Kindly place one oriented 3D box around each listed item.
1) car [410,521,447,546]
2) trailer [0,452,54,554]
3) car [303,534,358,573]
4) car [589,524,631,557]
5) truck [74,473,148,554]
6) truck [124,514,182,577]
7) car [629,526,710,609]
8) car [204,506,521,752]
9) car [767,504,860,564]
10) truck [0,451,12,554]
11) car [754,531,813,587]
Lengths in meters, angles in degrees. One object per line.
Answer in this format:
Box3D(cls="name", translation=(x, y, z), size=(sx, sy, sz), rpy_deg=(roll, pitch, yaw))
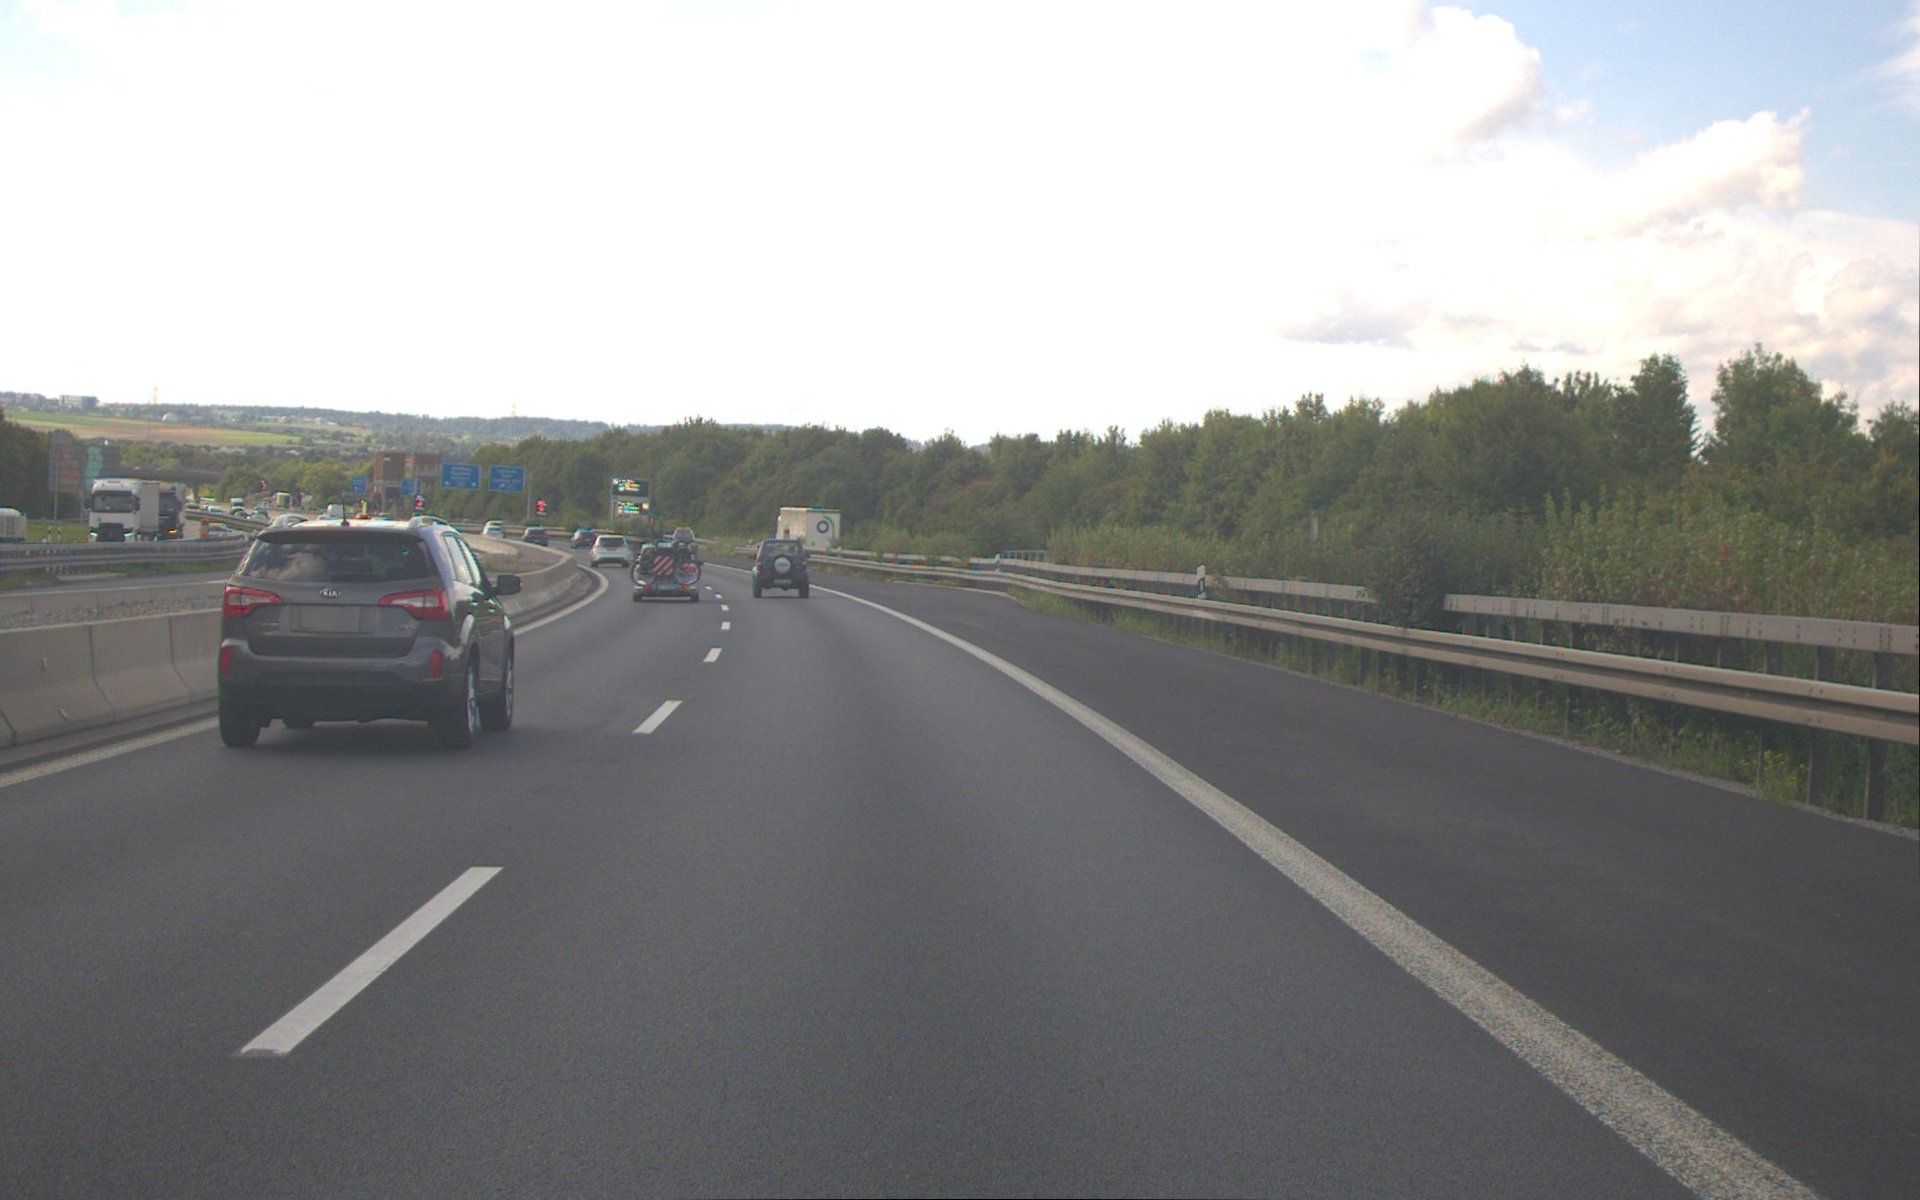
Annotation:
Box3D(cls="car", translation=(-32.848, -4.105, 212.531), size=(1.874, 1.442, 5.123), rpy_deg=(1, 0, -5))
Box3D(cls="trailer", translation=(-37.503, -3.716, 132.766), size=(2.812, 3.794, 12.191), rpy_deg=(1, 1, -5))
Box3D(cls="car", translation=(-26.230, -1.930, 143.356), size=(1.712, 1.522, 4.767), rpy_deg=(1, 0, -4))
Box3D(cls="car", translation=(-18.652, -3.170, 183.337), size=(1.993, 1.678, 4.001), rpy_deg=(1, 0, -9))
Box3D(cls="truck", translation=(-47.382, -4.793, 191.985), size=(3.320, 4.278, 6.750), rpy_deg=(1, 0, -8))
Box3D(cls="truck", translation=(-53.407, -3.536, 227.708), size=(2.901, 3.955, 10.467), rpy_deg=(1, 0, -9))
Box3D(cls="car", translation=(-7.821, -0.901, 92.871), size=(2.030, 2.144, 4.001), rpy_deg=(1, 1, -3))
Box3D(cls="car", translation=(-4.597, 0.178, 27.163), size=(1.817, 1.730, 5.187), rpy_deg=(1, 1, -3))
Box3D(cls="car", translation=(-11.154, -4.955, 260.376), size=(4.727, 4.251, 11.407), rpy_deg=(1, 0, -14))
Box3D(cls="truck", translation=(-36.889, -3.603, 126.086), size=(2.809, 3.813, 7.131), rpy_deg=(1, 1, -5))
Box3D(cls="car", translation=(-5.205, -1.217, 101.123), size=(1.587, 1.591, 4.096), rpy_deg=(1, 1, -4))
